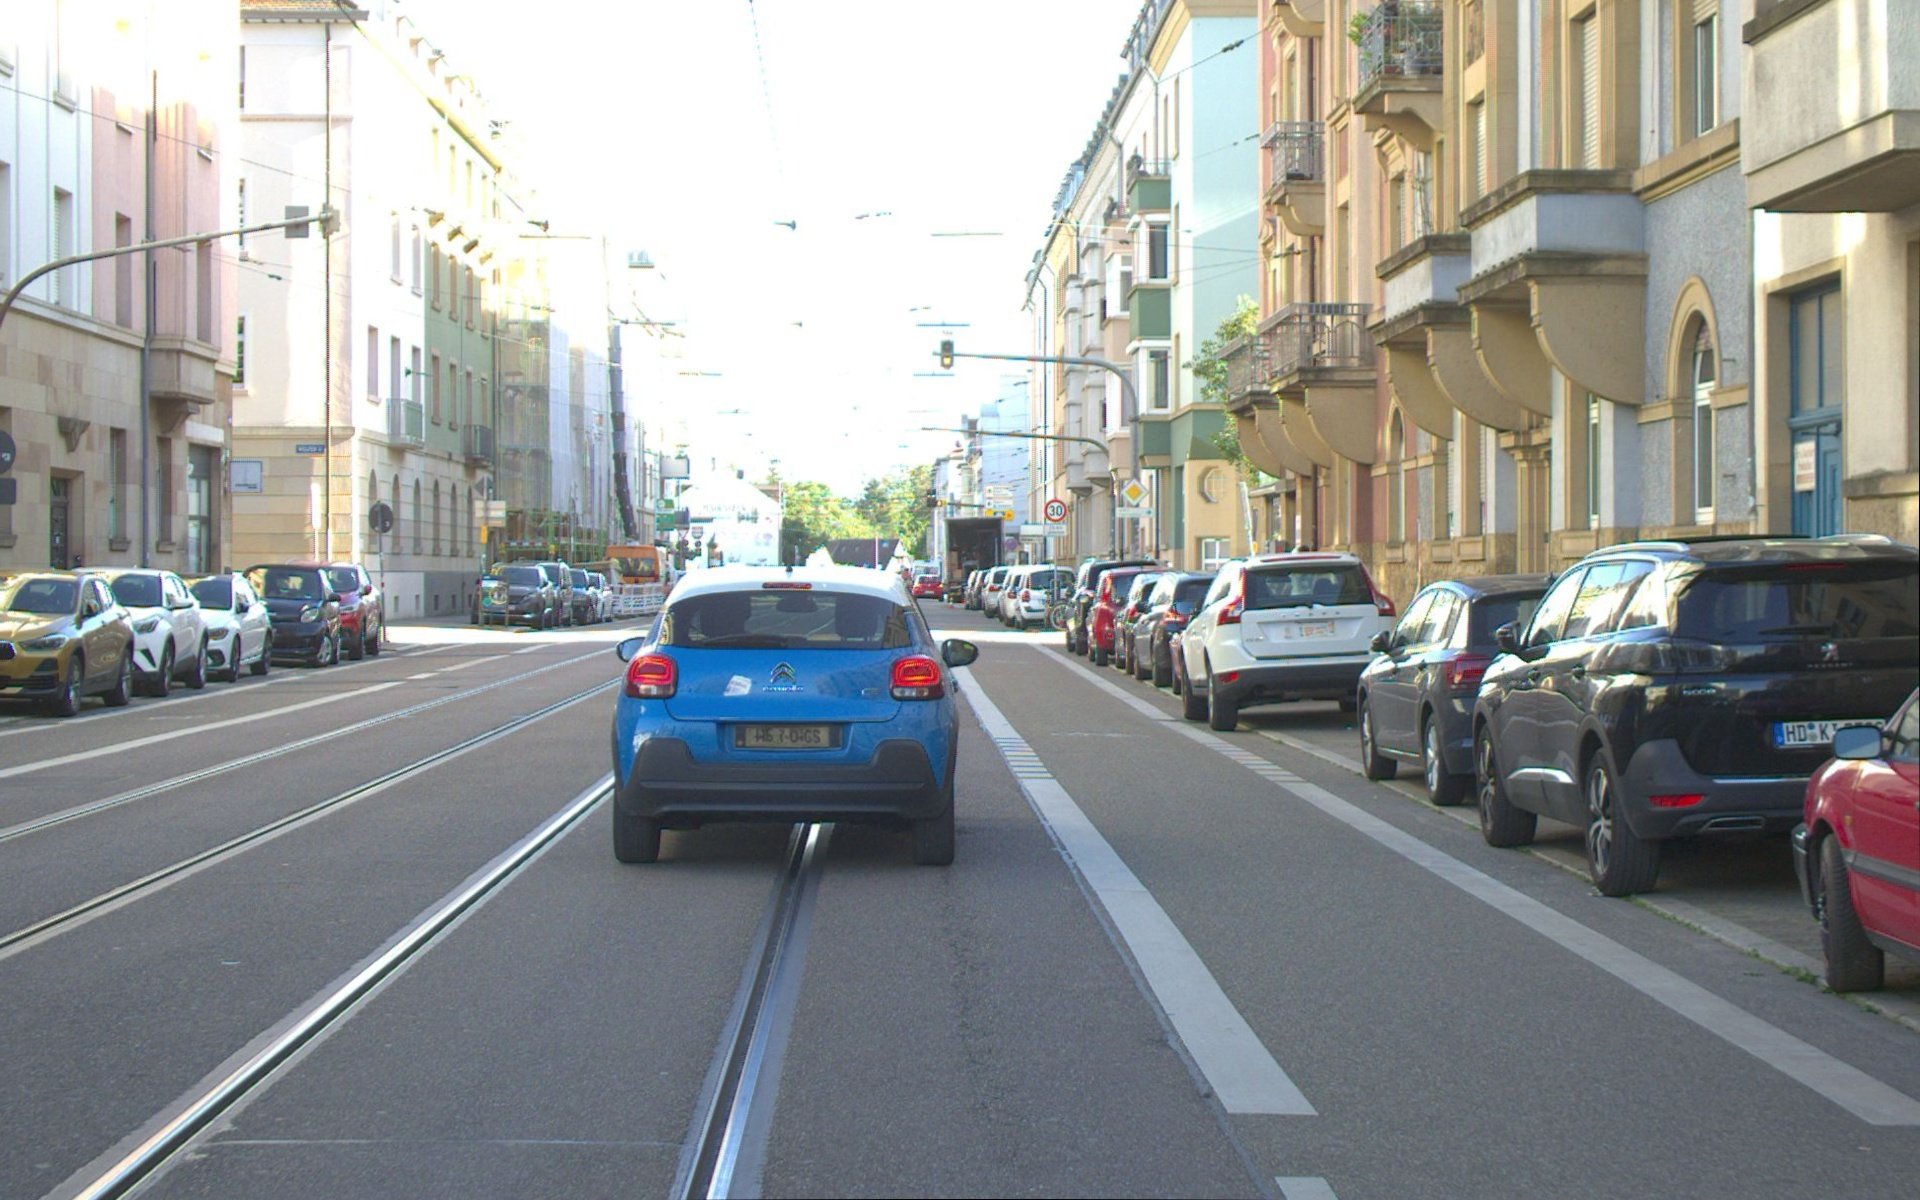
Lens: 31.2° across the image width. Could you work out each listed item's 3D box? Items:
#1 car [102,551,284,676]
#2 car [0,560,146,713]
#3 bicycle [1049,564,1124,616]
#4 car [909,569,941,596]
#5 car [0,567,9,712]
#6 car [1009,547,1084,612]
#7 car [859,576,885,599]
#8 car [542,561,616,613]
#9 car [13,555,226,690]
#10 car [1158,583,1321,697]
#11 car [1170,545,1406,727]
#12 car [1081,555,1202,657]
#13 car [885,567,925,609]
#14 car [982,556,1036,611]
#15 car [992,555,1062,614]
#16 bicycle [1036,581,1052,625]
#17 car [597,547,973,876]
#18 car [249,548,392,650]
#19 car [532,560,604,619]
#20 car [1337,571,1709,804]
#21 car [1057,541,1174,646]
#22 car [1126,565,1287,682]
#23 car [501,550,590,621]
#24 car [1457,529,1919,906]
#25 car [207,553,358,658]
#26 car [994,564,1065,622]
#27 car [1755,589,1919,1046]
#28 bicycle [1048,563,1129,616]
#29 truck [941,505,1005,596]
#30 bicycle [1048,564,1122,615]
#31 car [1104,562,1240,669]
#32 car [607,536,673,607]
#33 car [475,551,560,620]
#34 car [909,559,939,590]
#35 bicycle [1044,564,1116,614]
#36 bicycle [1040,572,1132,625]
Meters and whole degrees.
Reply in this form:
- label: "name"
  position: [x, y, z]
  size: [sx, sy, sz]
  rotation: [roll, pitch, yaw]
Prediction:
- label: "car"
  position: [-10.700, 0.159, 48.224]
  size: [1.783, 1.616, 4.180]
  rotation: [2, 1, -3]
- label: "car"
  position: [-10.234, 0.347, 37.494]
  size: [1.783, 1.518, 4.360]
  rotation: [2, 1, -2]
- label: "bicycle"
  position: [3.058, -0.249, 83.098]
  size: [1.722, 1.150, 0.469]
  rotation: [-3, 1, 0]
- label: "car"
  position: [-1.947, -0.981, 193.043]
  size: [1.765, 1.481, 4.032]
  rotation: [0, 0, -1]
- label: "car"
  position: [-10.476, 0.398, 33.201]
  size: [1.602, 1.467, 3.646]
  rotation: [2, 1, -1]
- label: "car"
  position: [2.217, -0.540, 89.087]
  size: [1.783, 1.626, 4.000]
  rotation: [0, 0, -1]
- label: "car"
  position: [-6.290, -0.923, 246.771]
  size: [1.826, 1.626, 4.490]
  rotation: [0, 0, -1]
- label: "car"
  position: [-11.767, -0.418, 106.303]
  size: [1.718, 1.497, 4.388]
  rotation: [2, 1, 0]
- label: "car"
  position: [-10.465, 0.243, 43.065]
  size: [1.771, 1.541, 4.366]
  rotation: [2, 1, -3]
- label: "car"
  position: [3.252, 0.439, 40.659]
  size: [1.654, 1.245, 4.505]
  rotation: [0, 1, 1]
- label: "car"
  position: [3.176, 0.308, 34.123]
  size: [1.843, 1.685, 4.505]
  rotation: [0, 1, -1]
- label: "car"
  position: [2.897, 0.078, 55.439]
  size: [1.753, 1.589, 3.729]
  rotation: [0, 1, 0]
- label: "car"
  position: [-2.556, -0.558, 159.875]
  size: [1.821, 1.888, 4.000]
  rotation: [1, 1, -1]
- label: "car"
  position: [1.667, -0.578, 118.092]
  size: [1.730, 1.821, 4.686]
  rotation: [0, 0, -1]
- label: "car"
  position: [2.035, -0.485, 105.708]
  size: [1.654, 1.746, 4.604]
  rotation: [0, 0, -5]
- label: "bicycle"
  position: [2.051, 0.063, 84.059]
  size: [0.353, 1.041, 1.728]
  rotation: [0, 1, 1]
- label: "car"
  position: [-0.858, 0.508, 18.290]
  size: [1.735, 1.502, 3.992]
  rotation: [2, 1, -1]
- label: "car"
  position: [-10.781, -0.045, 58.225]
  size: [1.783, 1.601, 4.398]
  rotation: [2, 1, -3]
- label: "car"
  position: [-11.438, -0.328, 100.527]
  size: [1.783, 1.621, 4.610]
  rotation: [2, 1, -3]
- label: "car"
  position: [3.713, 0.523, 23.329]
  size: [1.737, 1.437, 4.033]
  rotation: [0, 1, -2]
- label: "car"
  position: [2.762, -0.136, 61.966]
  size: [1.753, 1.730, 4.507]
  rotation: [-3, 1, -1]
- label: "car"
  position: [3.216, 0.274, 45.615]
  size: [1.654, 1.478, 4.474]
  rotation: [0, 1, -2]
- label: "car"
  position: [-11.156, -0.412, 92.759]
  size: [1.783, 1.810, 4.528]
  rotation: [2, 1, 0]
- label: "car"
  position: [3.773, 0.493, 17.427]
  size: [1.859, 1.660, 4.561]
  rotation: [0, 1, 0]
- label: "car"
  position: [-10.605, 0.061, 53.952]
  size: [1.783, 1.547, 3.019]
  rotation: [2, 1, -1]
- label: "car"
  position: [1.894, -0.202, 94.851]
  size: [1.783, 1.570, 4.326]
  rotation: [0, 0, -1]
- label: "car"
  position: [4.011, 0.706, 10.982]
  size: [1.859, 1.450, 4.710]
  rotation: [0, 1, 0]
- label: "bicycle"
  position: [3.064, -0.260, 81.861]
  size: [1.842, 1.150, 0.469]
  rotation: [-3, 1, 0]
- label: "truck"
  position: [0.573, -2.247, 159.900]
  size: [2.853, 4.069, 11.271]
  rotation: [0, 0, 0]
- label: "bicycle"
  position: [3.030, -0.255, 83.646]
  size: [1.722, 1.150, 0.469]
  rotation: [-3, 1, 0]
- label: "car"
  position: [3.083, 0.195, 50.679]
  size: [1.654, 1.508, 4.474]
  rotation: [0, 1, -1]
- label: "car"
  position: [-11.509, -1.036, 124.054]
  size: [2.144, 2.467, 4.981]
  rotation: [1, 1, -3]
- label: "car"
  position: [-11.415, -0.383, 88.958]
  size: [1.783, 1.684, 4.668]
  rotation: [2, 1, -3]
- label: "car"
  position: [-2.635, -1.870, 252.168]
  size: [2.220, 2.277, 4.084]
  rotation: [0, 0, -1]
- label: "bicycle"
  position: [2.985, -0.275, 85.765]
  size: [1.722, 1.150, 0.469]
  rotation: [-3, 1, 0]
- label: "bicycle"
  position: [2.970, -0.033, 81.162]
  size: [2.086, 1.150, 0.848]
  rotation: [-3, 1, 0]
